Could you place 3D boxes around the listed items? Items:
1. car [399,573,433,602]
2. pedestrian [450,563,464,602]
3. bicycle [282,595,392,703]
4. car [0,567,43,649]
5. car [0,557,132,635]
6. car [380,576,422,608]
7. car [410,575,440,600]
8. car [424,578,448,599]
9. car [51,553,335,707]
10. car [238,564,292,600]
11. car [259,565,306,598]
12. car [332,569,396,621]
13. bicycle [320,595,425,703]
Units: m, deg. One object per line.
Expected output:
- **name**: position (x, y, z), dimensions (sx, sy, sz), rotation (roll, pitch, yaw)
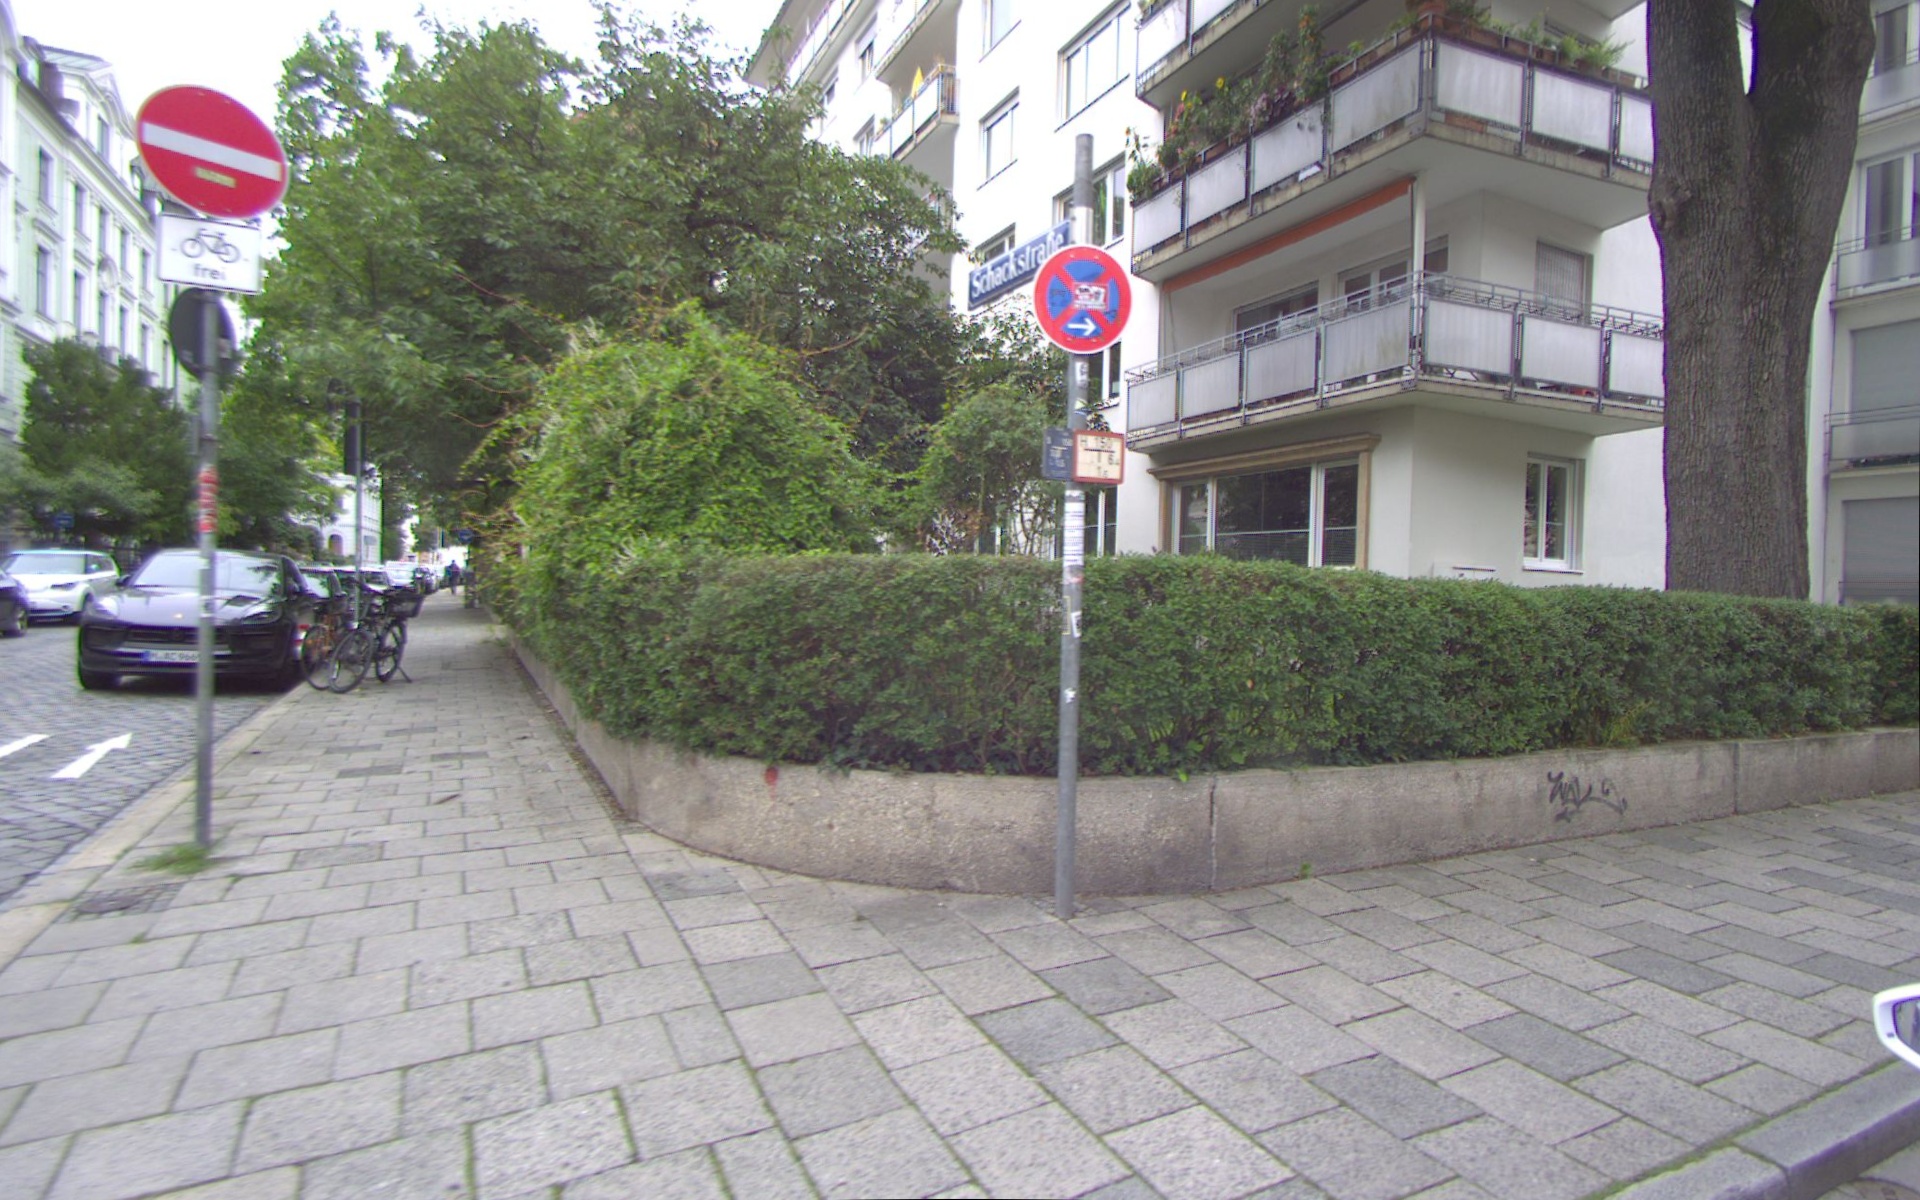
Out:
- **car**: position (-29.240, -0.697, 54.074), dimensions (1.476, 1.417, 3.876), rotation (2, 1, -27)
- **pedestrian**: position (-25.842, -0.878, 51.608), dimensions (0.531, 1.975, 0.481), rotation (1, 1, -34)
- **bicycle**: position (-6.918, 0.504, 11.228), dimensions (0.341, 1.086, 1.777), rotation (1, 1, -8)
- **car**: position (-16.617, 0.124, 16.065), dimensions (1.822, 1.344, 4.083), rotation (2, 1, -27)
- **car**: position (-19.415, -0.116, 21.699), dimensions (1.568, 1.542, 3.633), rotation (1, 1, -27)
- **car**: position (-24.039, -0.358, 43.261), dimensions (1.503, 1.264, 3.373), rotation (1, 1, -29)
- **car**: position (-32.577, -0.766, 61.210), dimensions (1.476, 1.417, 3.876), rotation (2, 1, -27)
- **car**: position (-37.415, -0.856, 71.771), dimensions (1.476, 1.417, 3.876), rotation (2, 1, -27)
- **car**: position (-9.133, 0.296, 12.398), dimensions (1.992, 1.542, 4.261), rotation (3, 0, -27)
- **car**: position (-29.745, -0.771, 43.063), dimensions (1.503, 1.447, 3.373), rotation (1, 1, -29)
- **car**: position (-32.291, -0.894, 47.932), dimensions (1.574, 1.484, 3.501), rotation (1, 1, -30)
- **car**: position (-17.365, -0.171, 29.359), dimensions (1.466, 1.394, 3.463), rotation (3, 0, -30)
- **bicycle**: position (-6.583, 0.506, 11.336), dimensions (0.341, 1.086, 1.777), rotation (3, 1, -8)
